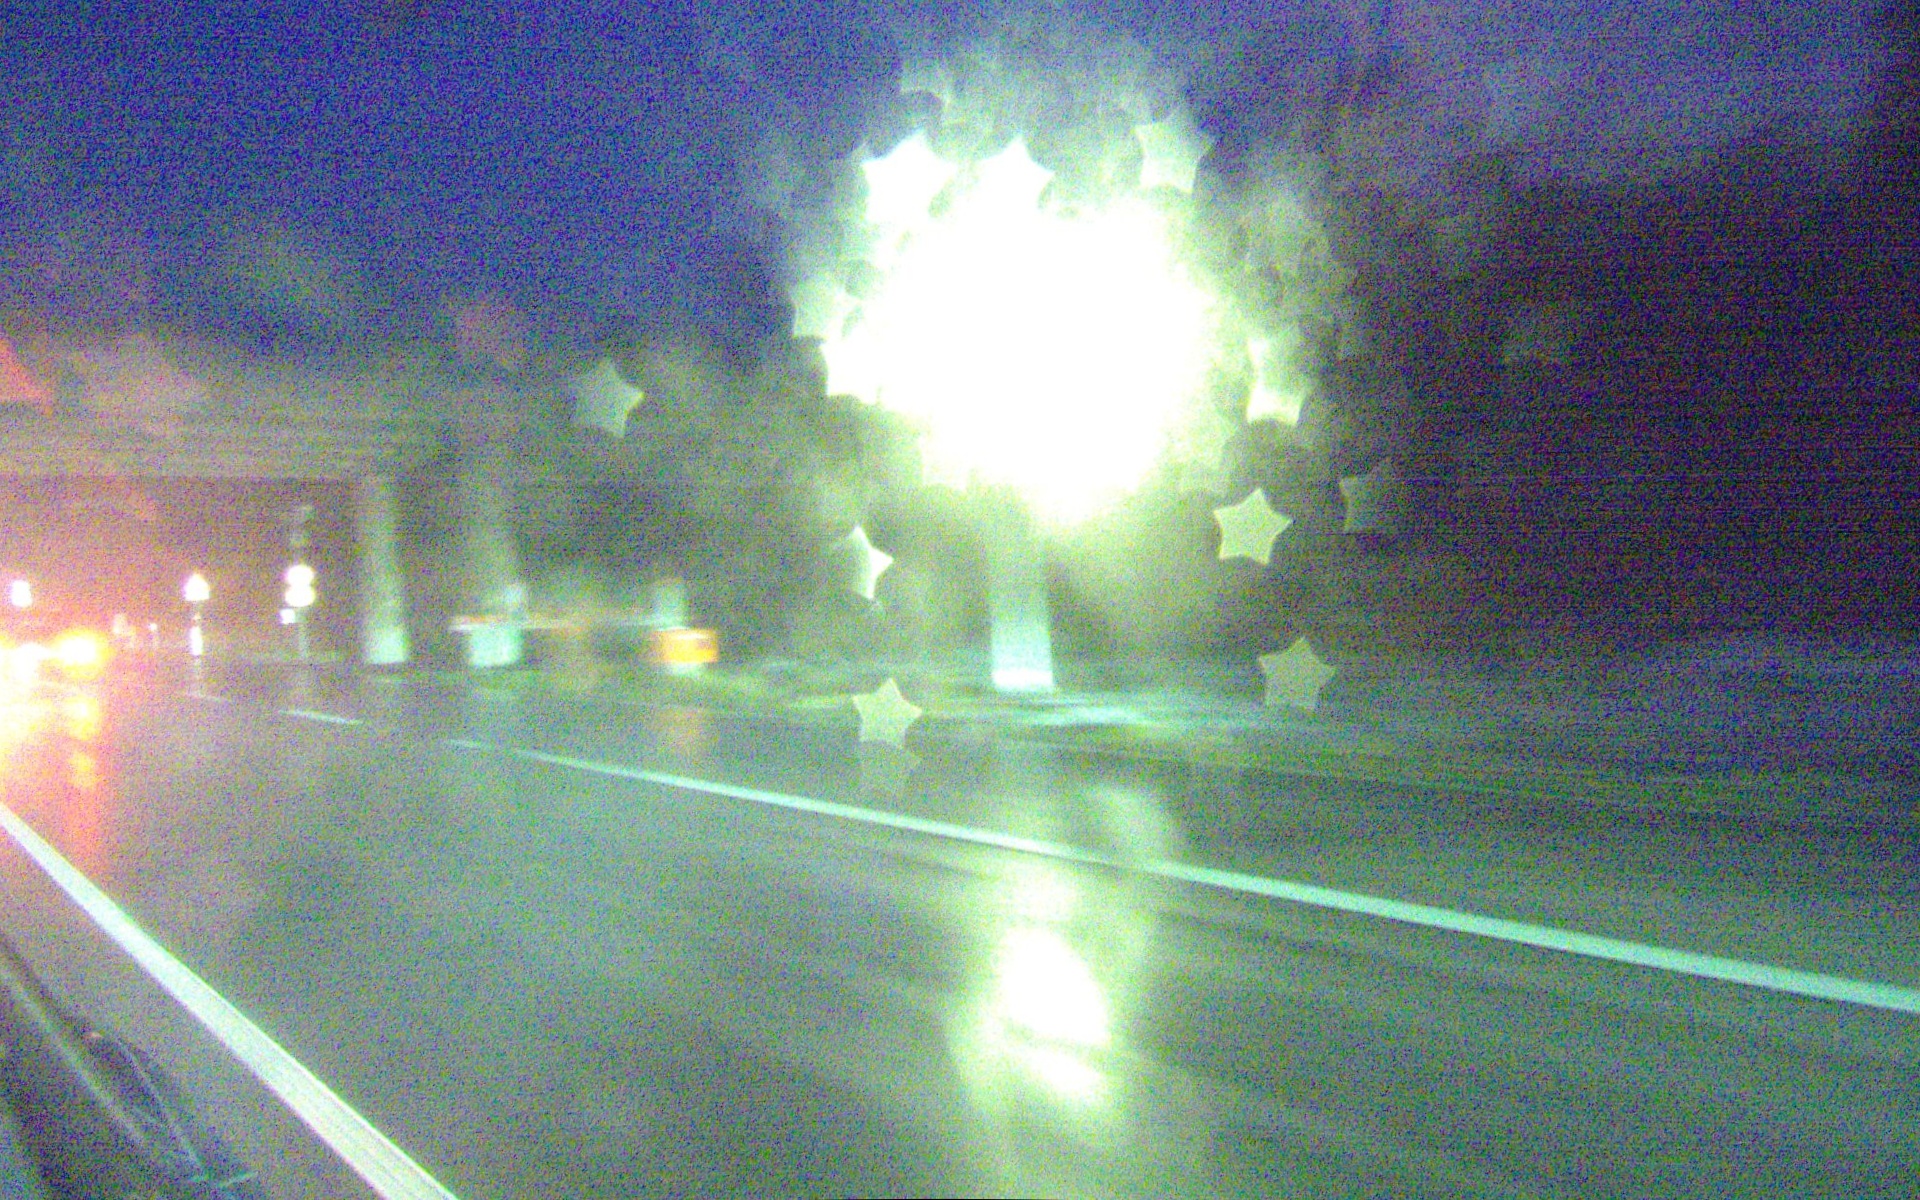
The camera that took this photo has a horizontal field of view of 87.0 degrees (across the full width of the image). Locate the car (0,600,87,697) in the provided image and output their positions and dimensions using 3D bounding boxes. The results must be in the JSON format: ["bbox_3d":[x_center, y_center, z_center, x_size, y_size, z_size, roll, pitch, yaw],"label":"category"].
[{"bbox_3d":[-18.574,0.903,19.677,3.996,1.704,1.773,-1,1,40],"label":"car"}]
